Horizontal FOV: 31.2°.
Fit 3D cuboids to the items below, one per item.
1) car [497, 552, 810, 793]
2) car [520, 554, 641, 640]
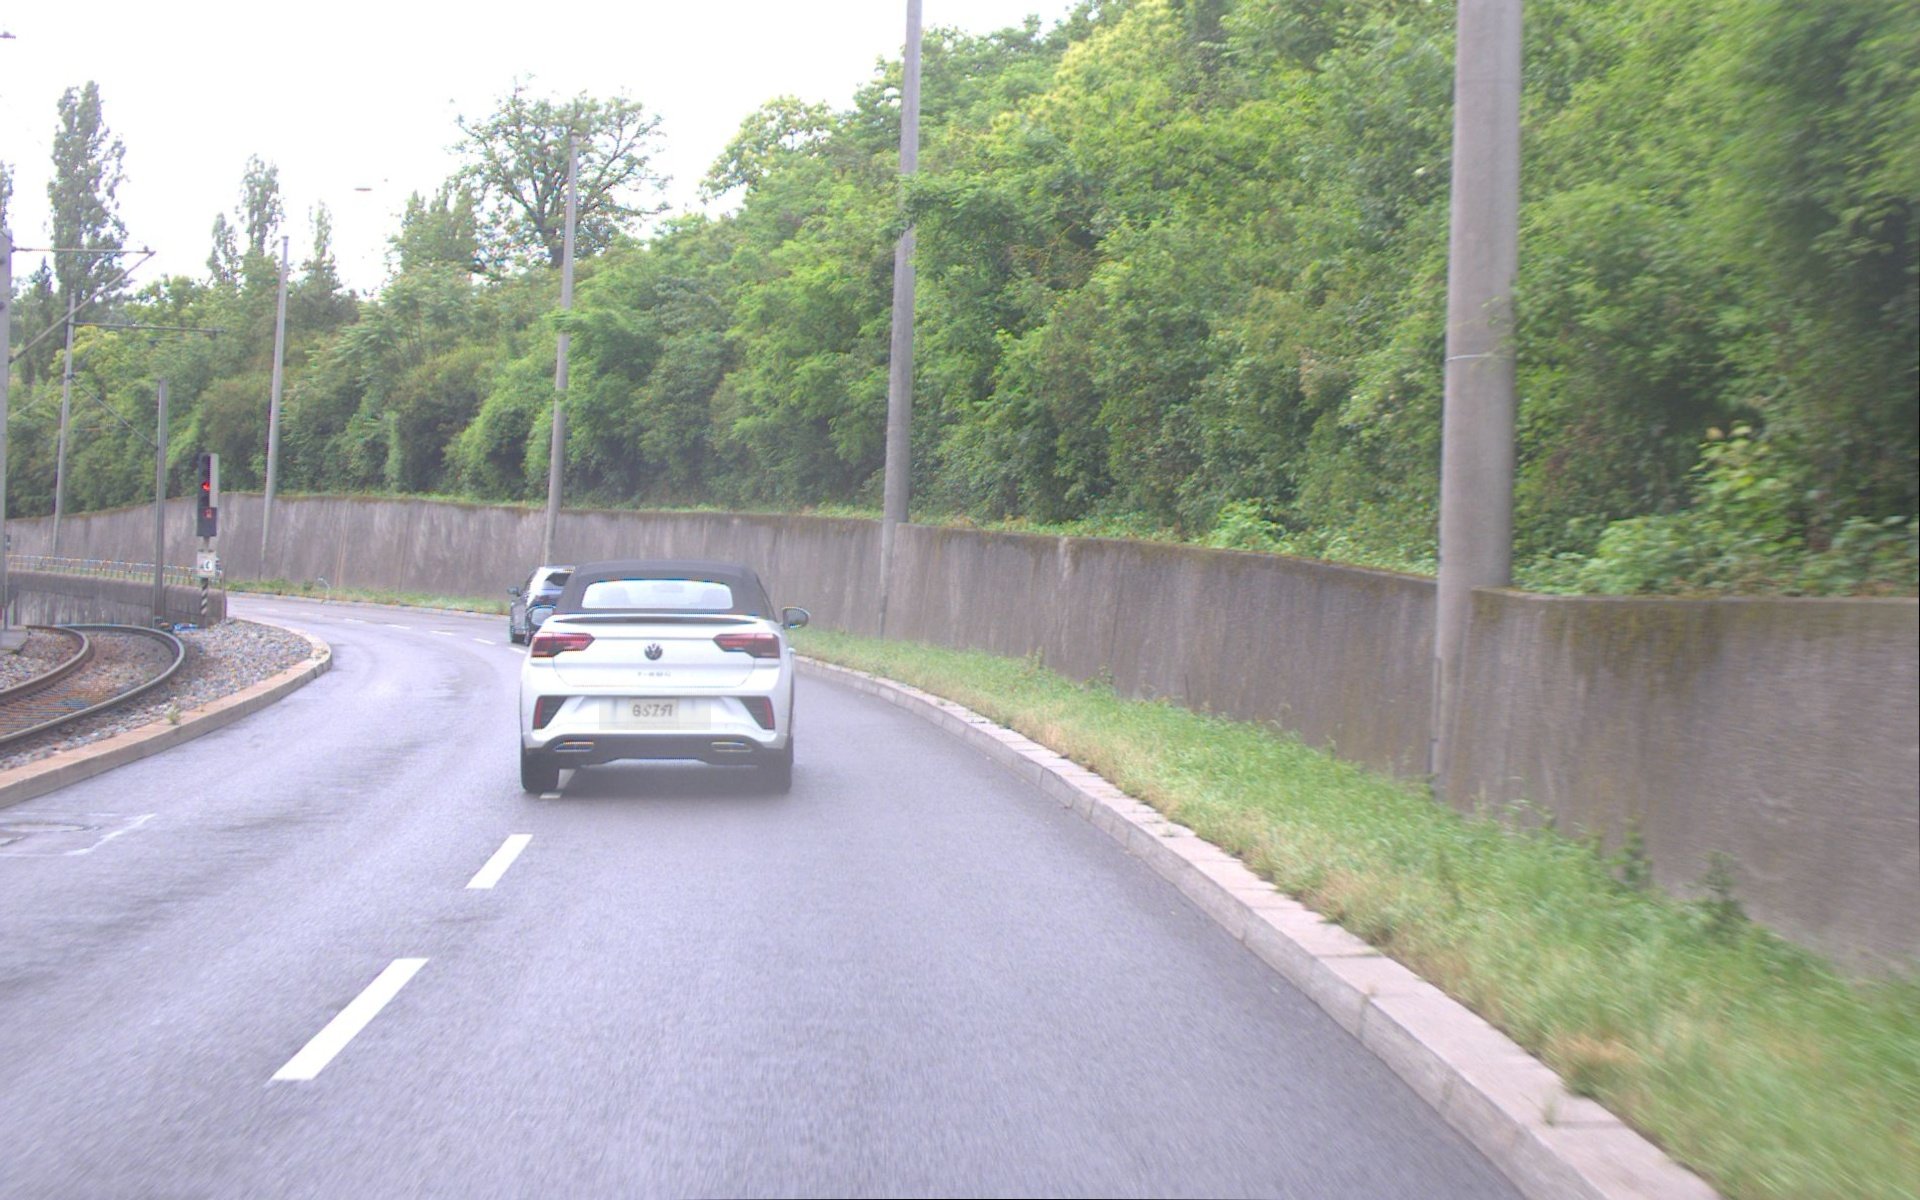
[{"bbox_3d":[-2.032,0.441,23.955,1.871,1.519,4.540,0,0,-1],"label":"car"},{"bbox_3d":[-6.991,-0.077,63.016,1.763,1.496,4.001,1,1,-12],"label":"car"}]
